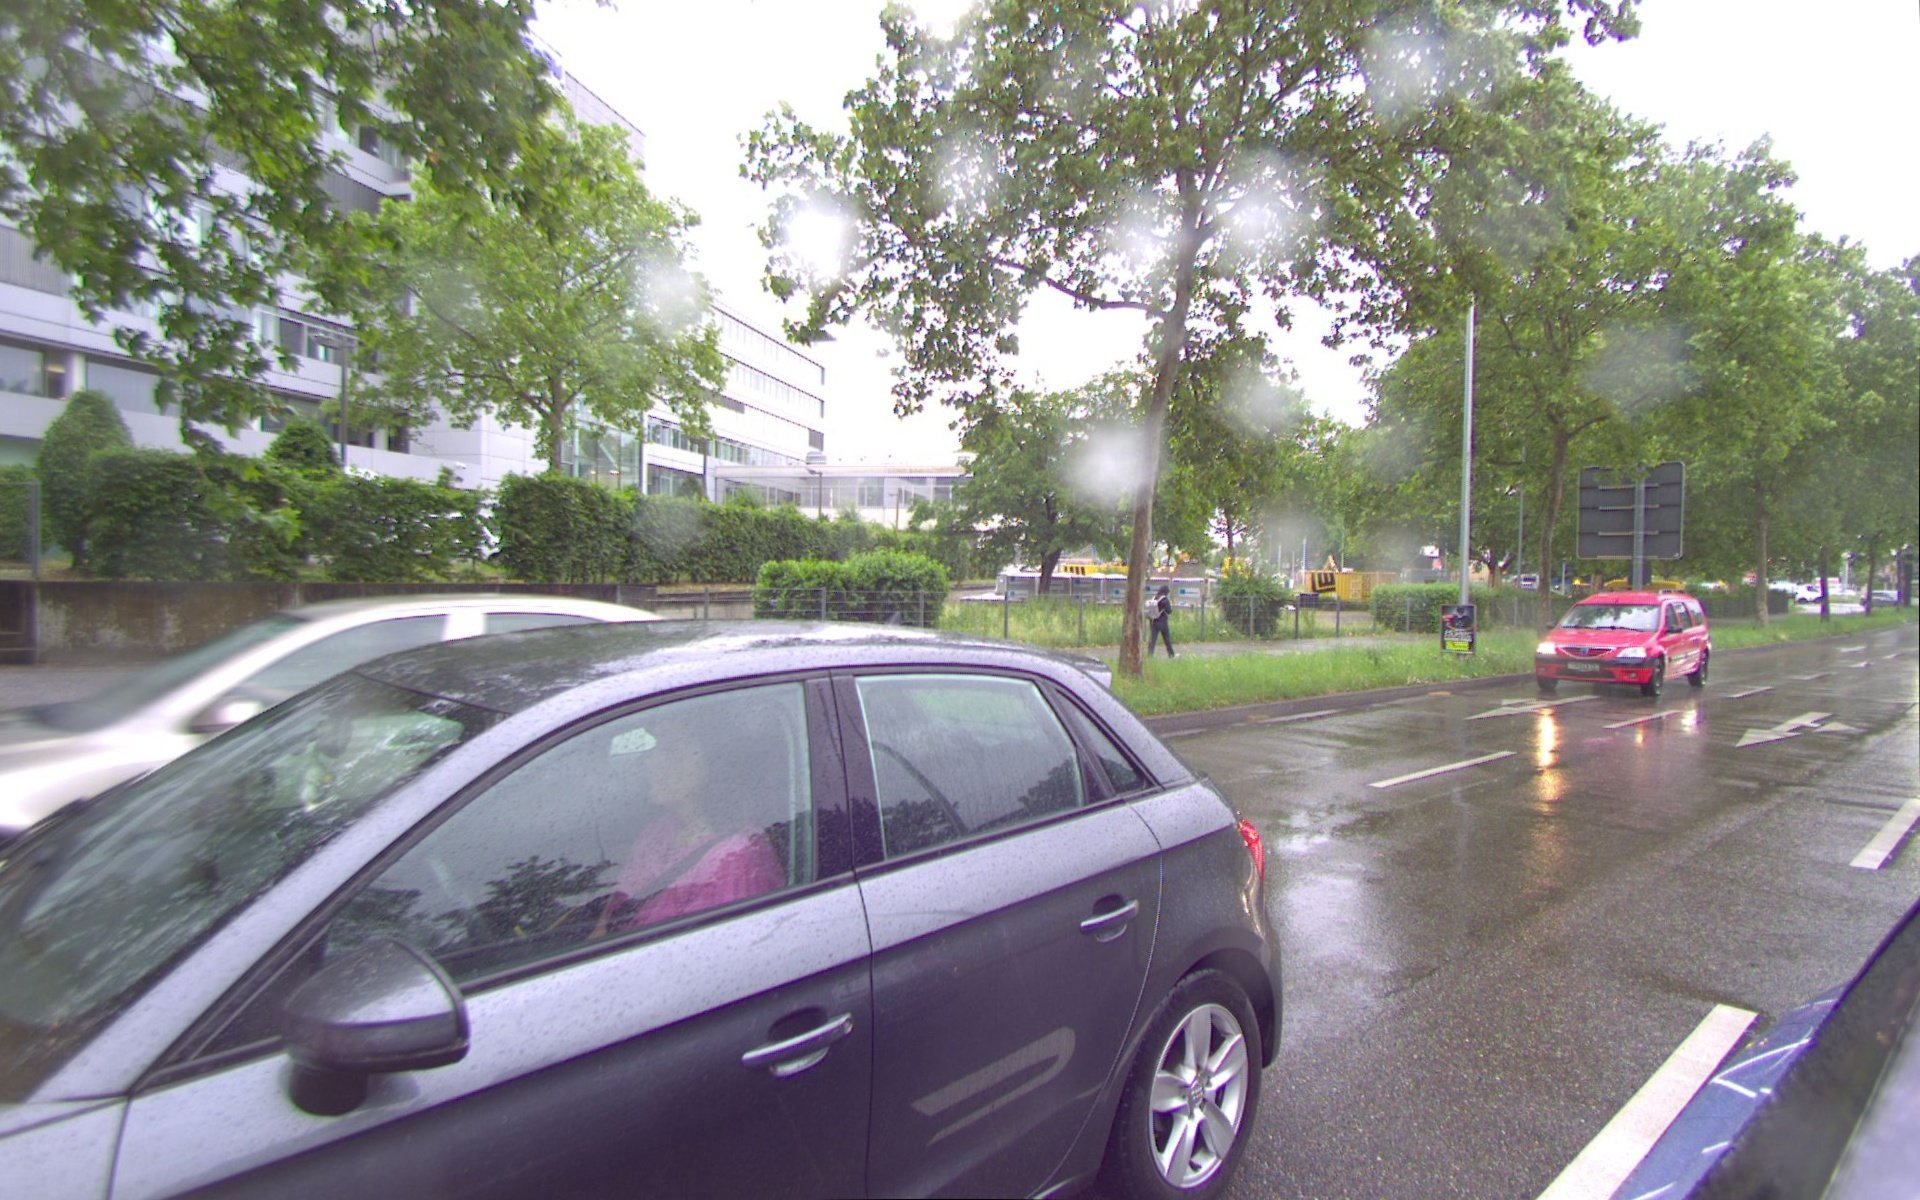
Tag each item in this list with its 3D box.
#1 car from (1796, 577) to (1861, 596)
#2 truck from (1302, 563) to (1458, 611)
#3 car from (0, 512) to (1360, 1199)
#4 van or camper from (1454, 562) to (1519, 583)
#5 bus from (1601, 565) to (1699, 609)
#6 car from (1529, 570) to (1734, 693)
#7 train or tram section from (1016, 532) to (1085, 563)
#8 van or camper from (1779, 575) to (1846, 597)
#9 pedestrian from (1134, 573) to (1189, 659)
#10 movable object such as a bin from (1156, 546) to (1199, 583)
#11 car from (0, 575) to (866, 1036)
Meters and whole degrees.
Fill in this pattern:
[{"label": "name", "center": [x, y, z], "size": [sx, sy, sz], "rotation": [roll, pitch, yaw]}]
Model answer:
[{"label": "car", "center": [85.595, -1.340, 99.765], "size": [4.391, 1.693, 1.863], "rotation": [2, 2, 11]}, {"label": "truck", "center": [28.303, -0.881, 68.686], "size": [9.359, 3.069, 3.070], "rotation": [0, 2, 14]}, {"label": "car", "center": [-0.982, 0.633, 2.254], "size": [3.932, 1.470, 1.996], "rotation": [-1, 1, -43]}, {"label": "van or camper", "center": [84.410, -4.438, 162.378], "size": [8.846, 3.196, 2.976], "rotation": [0, 2, 14]}, {"label": "bus", "center": [43.717, -0.880, 64.232], "size": [1.964, 2.680, 4.803], "rotation": [0, 1, -39]}, {"label": "car", "center": [11.311, 0.419, 16.924], "size": [4.478, 1.791, 1.699], "rotation": [-1, 2, -41]}, {"label": "train or tram section", "center": [11.168, -6.456, 124.817], "size": [8.238, 3.563, 2.393], "rotation": [-1, 1, 11]}, {"label": "van or camper", "center": [86.794, -1.468, 103.104], "size": [4.830, 2.114, 1.863], "rotation": [2, 2, 11]}, {"label": "pedestrian", "center": [4.283, 0.318, 21.504], "size": [0.664, 1.784, 1.059], "rotation": [1, 1, 43]}, {"label": "movable object such as a bin", "center": [22.411, -3.687, 104.419], "size": [3.253, 3.670, 3.618], "rotation": [0, 2, -6]}, {"label": "car", "center": [-2.711, 0.621, 4.674], "size": [4.310, 1.448, 1.806], "rotation": [-1, 2, -41]}]
